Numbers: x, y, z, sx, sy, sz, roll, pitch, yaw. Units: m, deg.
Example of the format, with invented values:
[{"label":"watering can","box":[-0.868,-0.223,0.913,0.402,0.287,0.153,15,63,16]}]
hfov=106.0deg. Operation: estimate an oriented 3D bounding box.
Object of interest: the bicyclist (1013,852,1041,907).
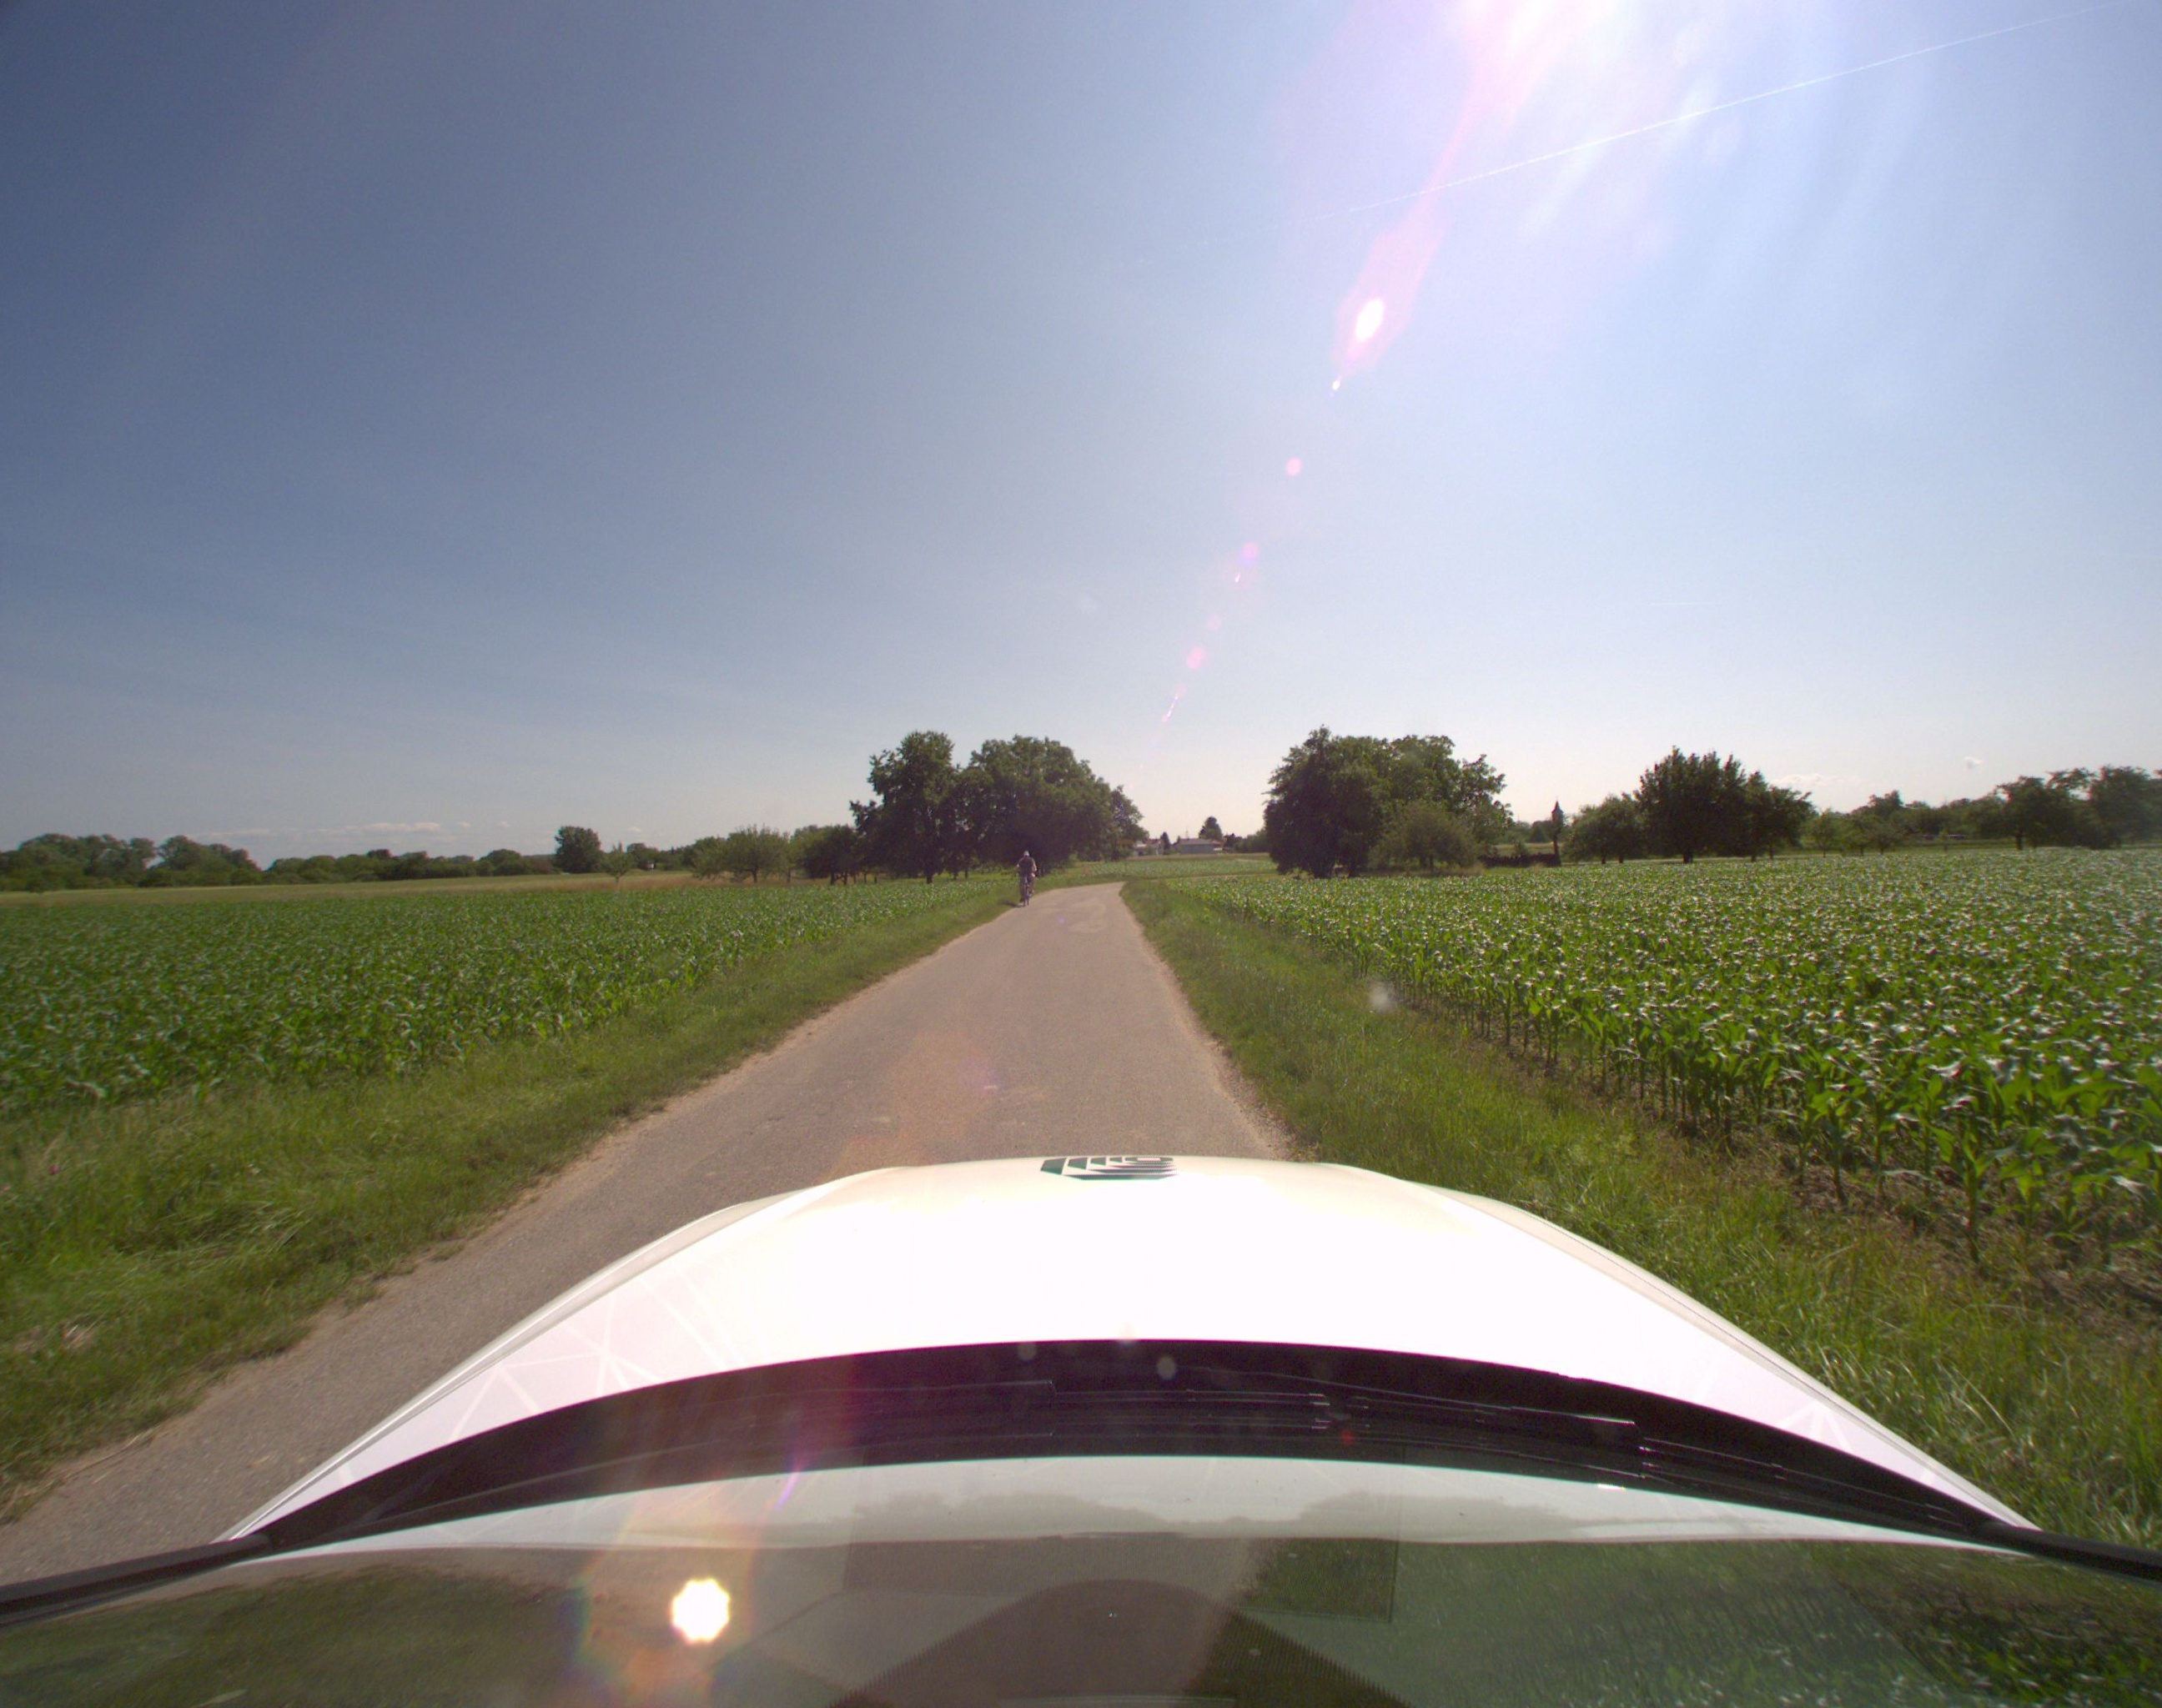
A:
[{"label":"bicyclist","box":[-1.793,0.856,27.313,0.747,1.791,0.717,-3,-1,2]}]

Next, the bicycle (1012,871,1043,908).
[{"label":"bicycle","box":[-1.776,1.180,27.360,0.747,1.127,1.910,-4,-1,3]}]
